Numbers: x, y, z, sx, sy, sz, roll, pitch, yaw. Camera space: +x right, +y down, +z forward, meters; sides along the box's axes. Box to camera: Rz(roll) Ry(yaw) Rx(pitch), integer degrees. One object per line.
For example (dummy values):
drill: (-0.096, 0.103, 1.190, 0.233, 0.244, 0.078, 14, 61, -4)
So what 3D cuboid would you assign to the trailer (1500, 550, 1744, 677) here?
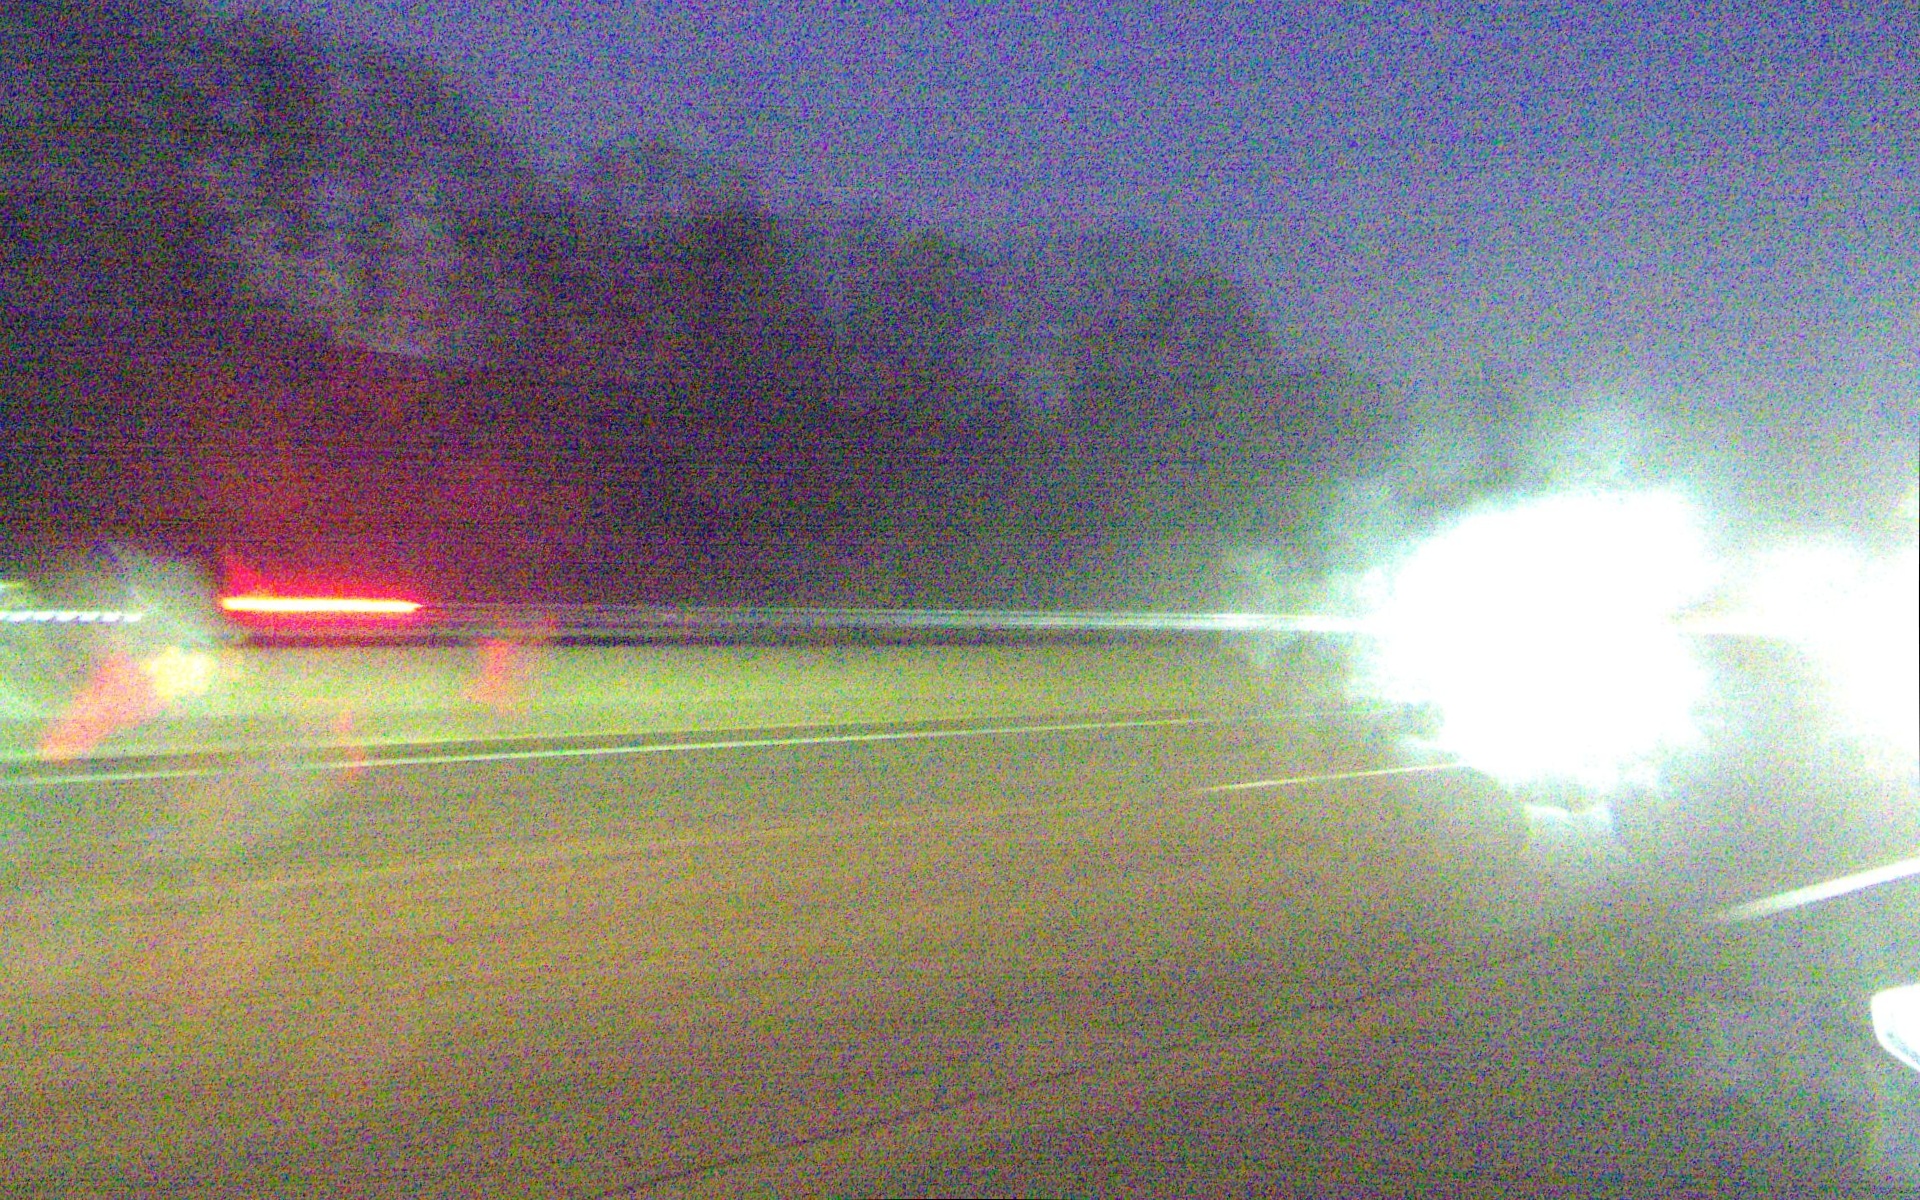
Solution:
trailer: (32.292, 0.730, 48.724, 13.586, 5.517, 4.147, 2, 1, -30)

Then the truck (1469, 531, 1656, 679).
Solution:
truck: (27.536, 0.262, 45.902, 7.258, 6.210, 4.148, 2, 1, -30)

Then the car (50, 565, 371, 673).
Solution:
car: (-12.698, 0.329, 17.422, 4.204, 1.665, 1.984, 2, 1, -30)
